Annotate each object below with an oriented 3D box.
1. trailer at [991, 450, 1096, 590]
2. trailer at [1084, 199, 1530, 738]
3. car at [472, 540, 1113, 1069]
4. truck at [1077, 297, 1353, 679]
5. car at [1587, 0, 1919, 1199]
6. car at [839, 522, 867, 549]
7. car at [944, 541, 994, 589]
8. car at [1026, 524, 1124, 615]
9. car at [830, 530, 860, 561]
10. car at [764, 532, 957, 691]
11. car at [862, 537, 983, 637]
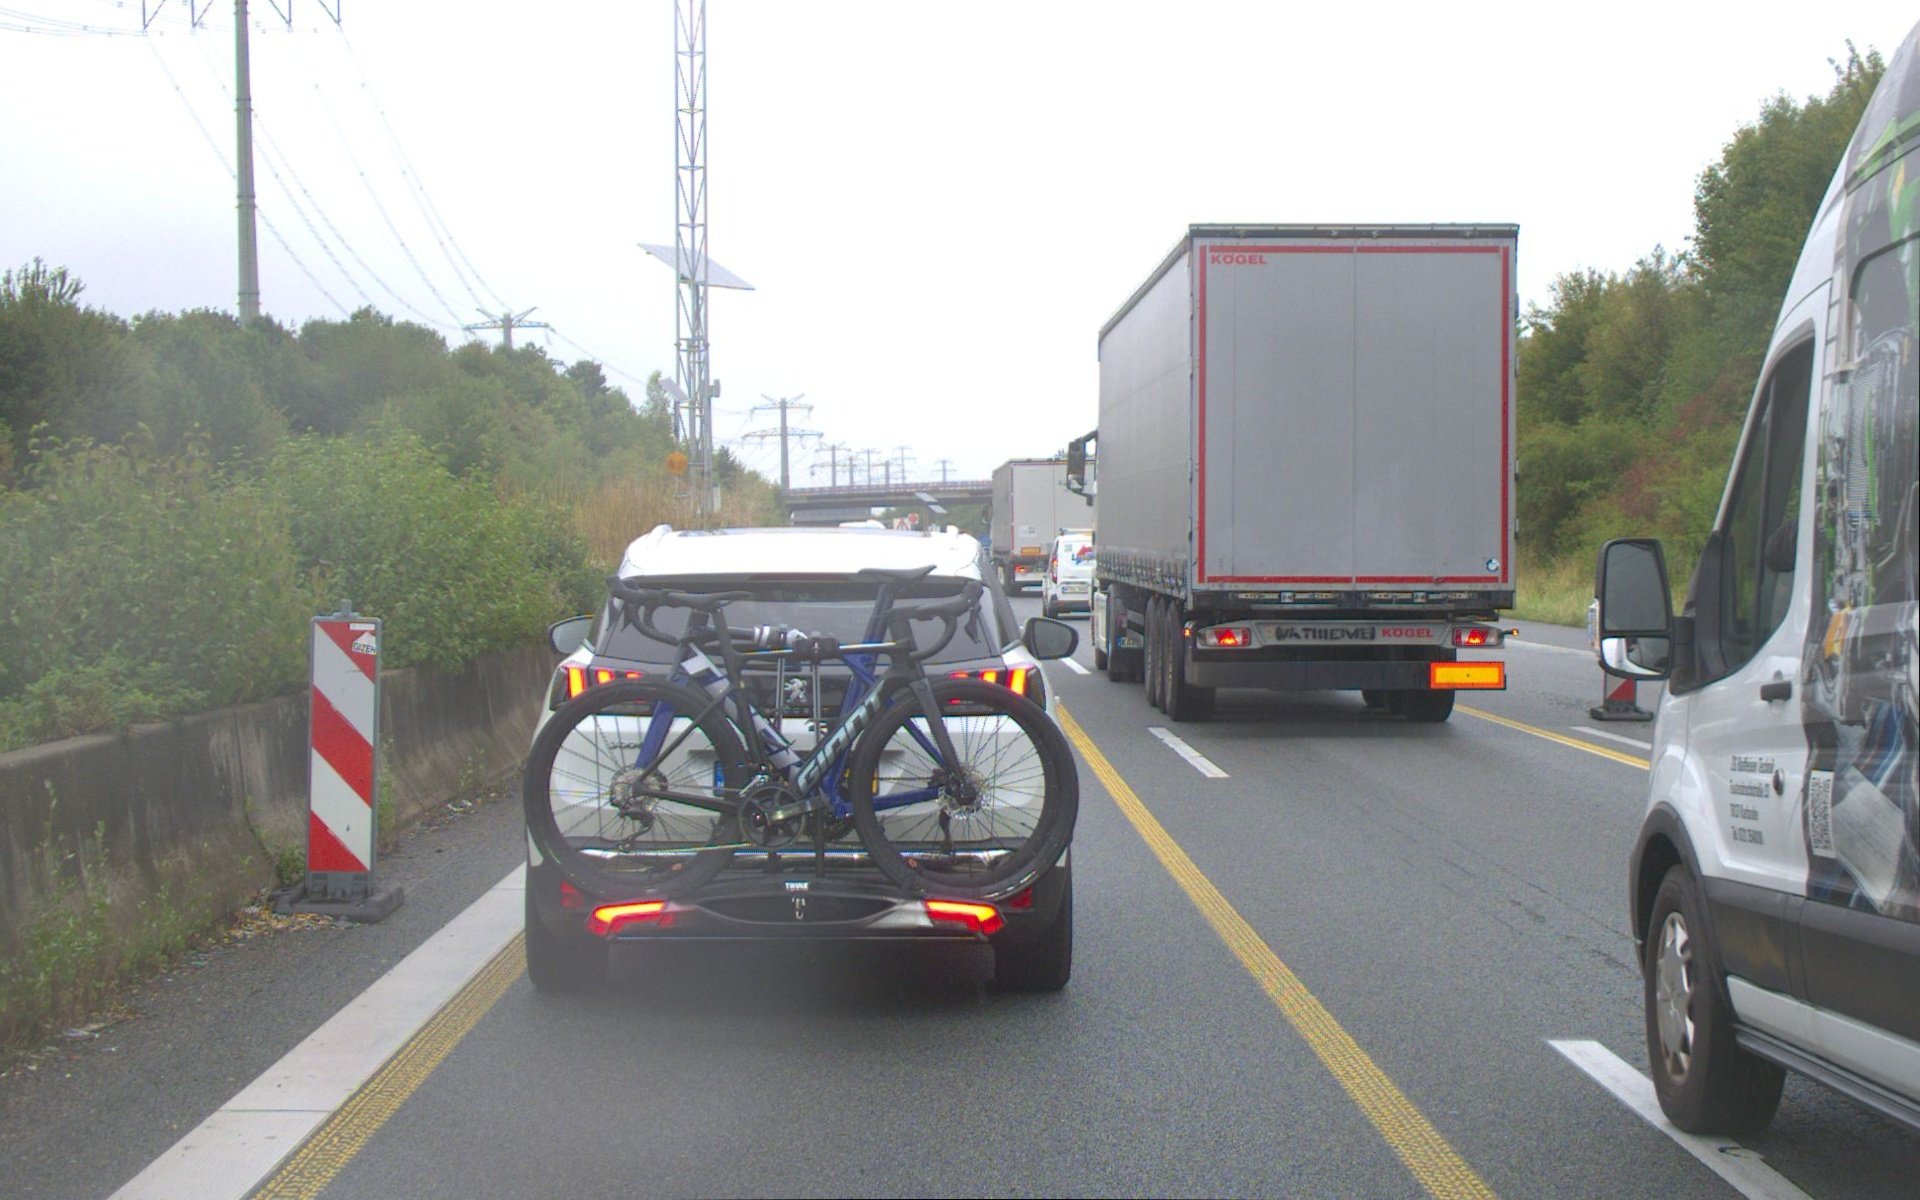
[{"bbox_3d":[2.488,-2.448,106.836,2.692,4.062,13.634,0,1,-1],"label":"trailer"},{"bbox_3d":[2.915,-1.124,33.285,2.706,4.132,13.733,0,1,-1],"label":"trailer"},{"bbox_3d":[-0.523,0.552,12.336,1.850,1.525,4.769,0,1,-1],"label":"car"},{"bbox_3d":[2.855,-1.255,40.038,2.706,4.124,5.691,0,1,-1],"label":"truck"},{"bbox_3d":[2.820,0.005,6.690,1.993,2.773,5.757,0,1,-2],"label":"car"},{"bbox_3d":[-7.843,-4.706,252.113,1.931,1.904,4.001,0,2,-1],"label":"car"},{"bbox_3d":[0.376,-1.534,150.195,2.110,1.966,4.001,0,2,-1],"label":"car"},{"bbox_3d":[2.372,-0.655,71.896,1.829,1.833,4.656,0,1,-1],"label":"car"},{"bbox_3d":[-7.817,-3.715,233.989,1.931,1.966,4.001,0,2,-1],"label":"car"},{"bbox_3d":[-0.989,0.079,35.118,1.850,1.525,4.000,0,1,-1],"label":"car"},{"bbox_3d":[-0.613,-0.239,54.846,1.850,1.525,4.000,0,1,-1],"label":"car"}]
